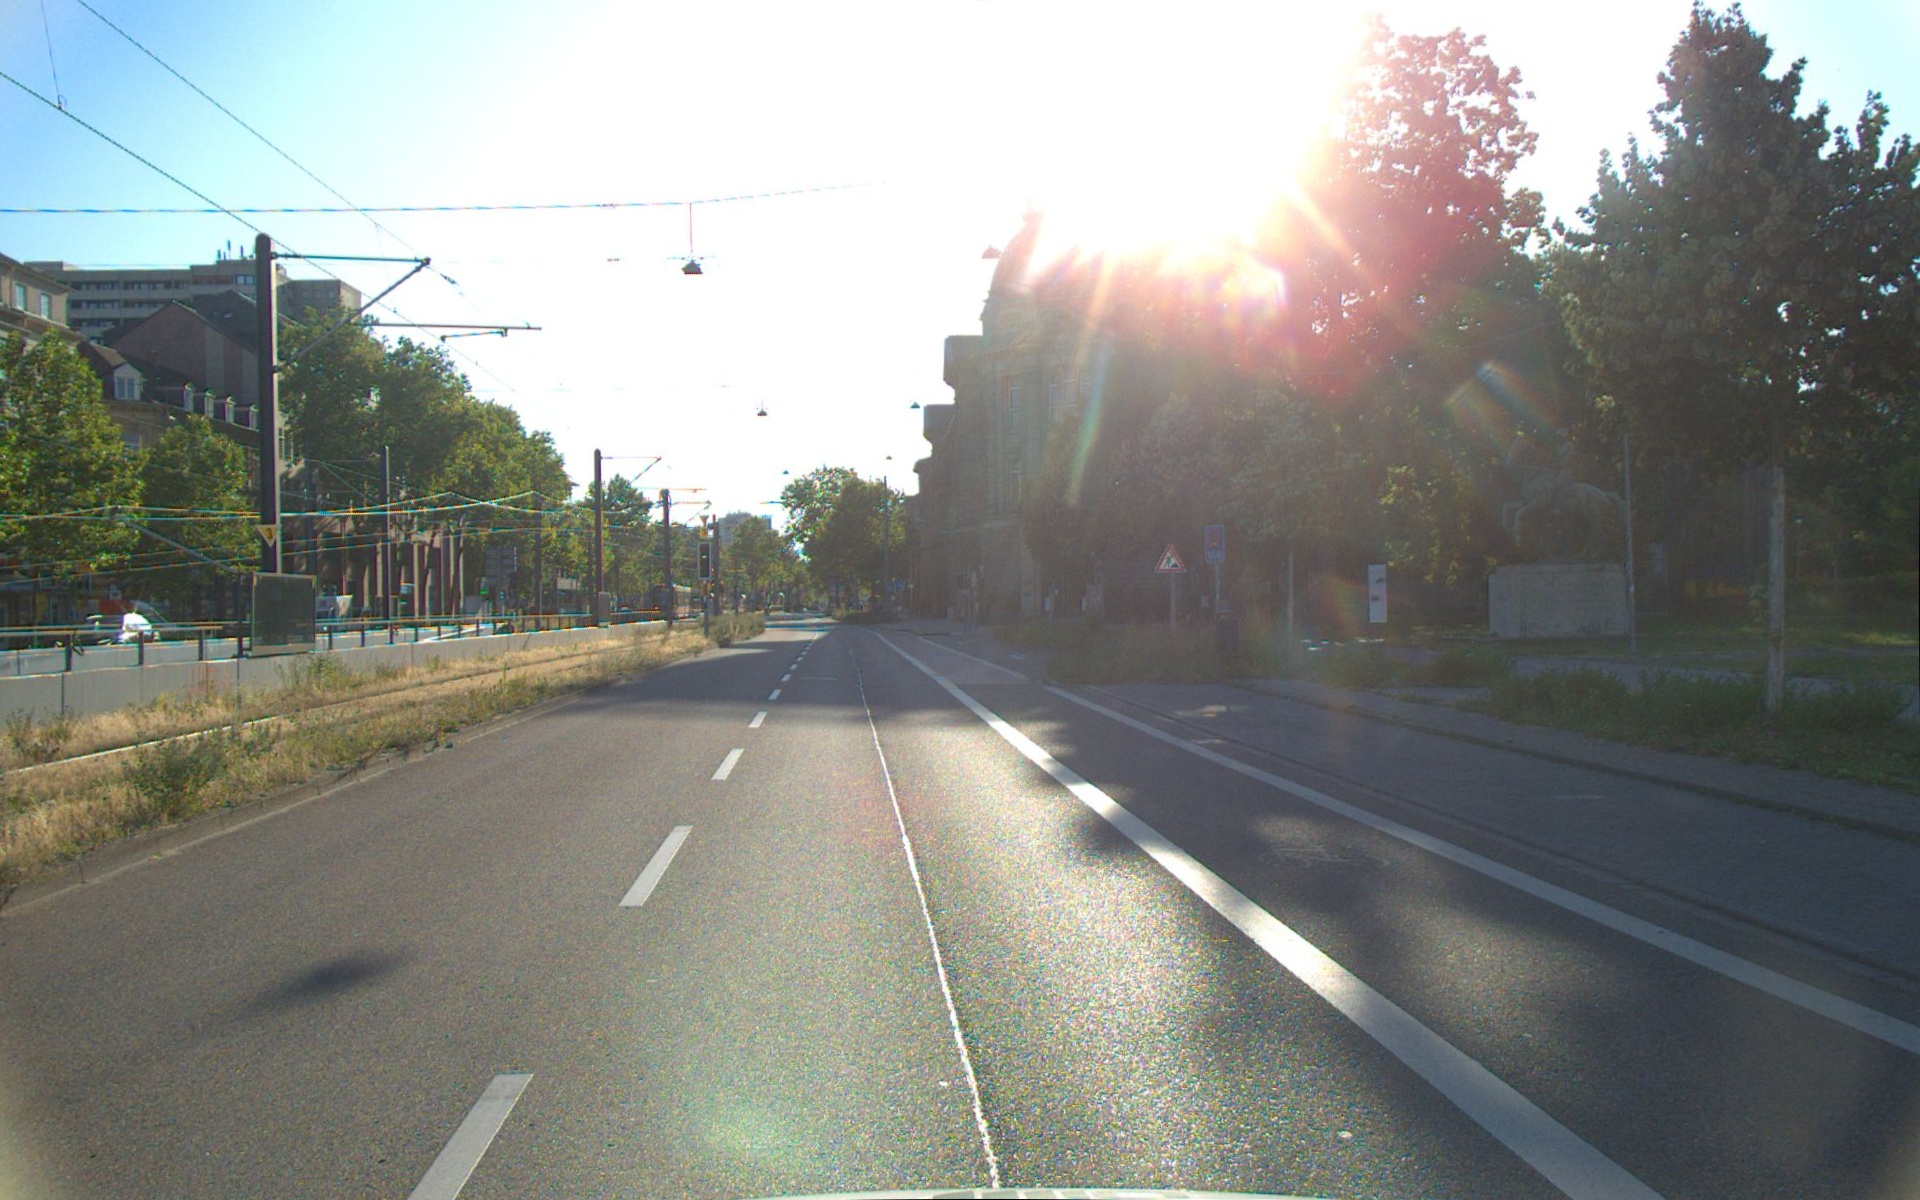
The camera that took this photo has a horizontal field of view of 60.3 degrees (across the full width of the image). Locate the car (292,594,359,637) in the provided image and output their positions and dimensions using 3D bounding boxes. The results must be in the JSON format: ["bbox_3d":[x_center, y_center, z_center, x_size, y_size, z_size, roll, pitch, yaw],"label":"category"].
[{"bbox_3d":[-32.990,0.784,86.115,1.914,2.171,4.569,-1,0,-4],"label":"car"}]

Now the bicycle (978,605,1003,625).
[{"bbox_3d":[1.893,0.924,102.303,0.848,1.217,2.240,-2,0,19],"label":"bicycle"}]

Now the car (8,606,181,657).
[{"bbox_3d":[-43.011,1.540,82.390,7.133,2.306,2.465,-1,0,-9],"label":"car"}]

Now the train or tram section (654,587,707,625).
[{"bbox_3d":[-28.302,0.614,168.163,3.050,3.621,17.469,-1,0,-2],"label":"train or tram section"}]

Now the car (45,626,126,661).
[{"bbox_3d":[-35.542,1.742,67.337,1.425,1.355,3.708,1,-1,-3],"label":"car"}]
